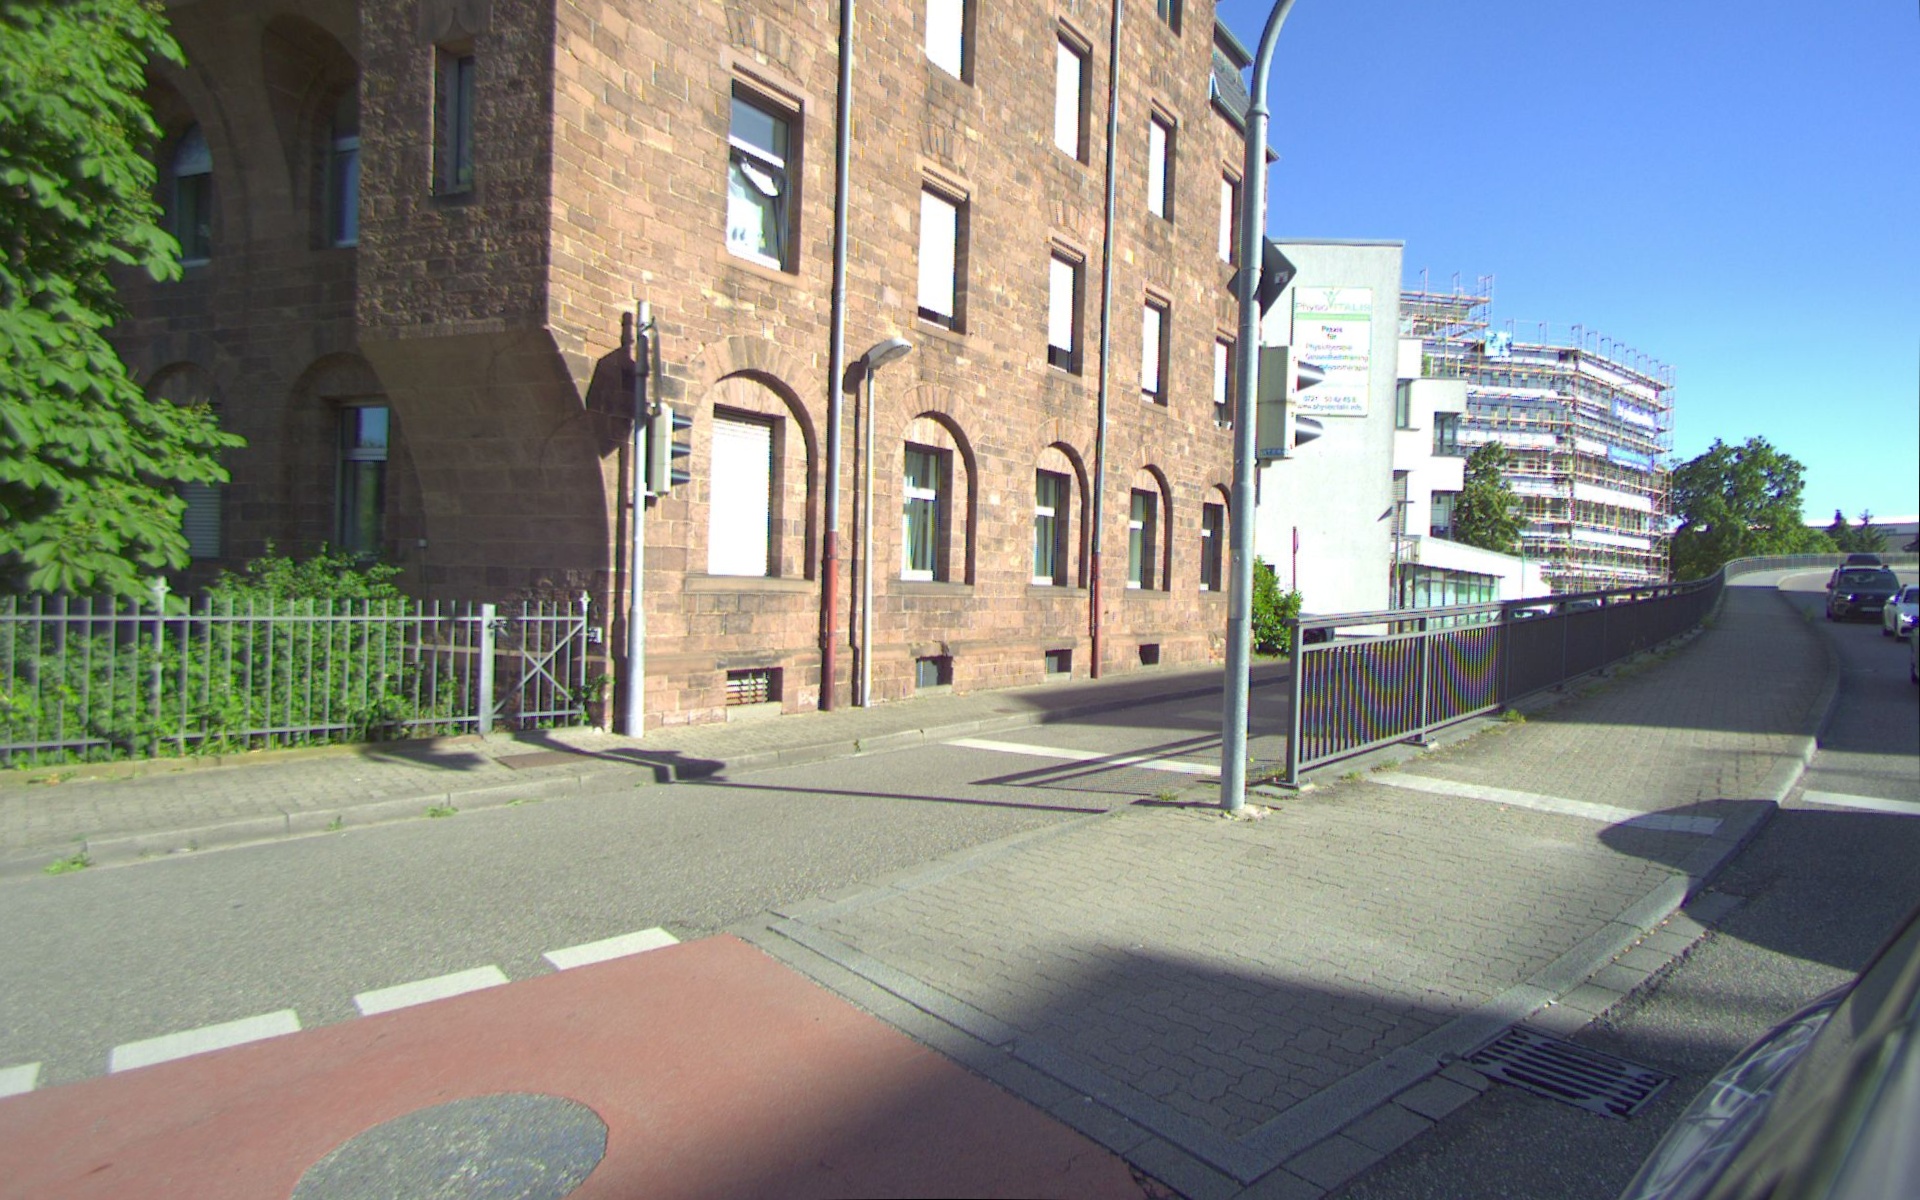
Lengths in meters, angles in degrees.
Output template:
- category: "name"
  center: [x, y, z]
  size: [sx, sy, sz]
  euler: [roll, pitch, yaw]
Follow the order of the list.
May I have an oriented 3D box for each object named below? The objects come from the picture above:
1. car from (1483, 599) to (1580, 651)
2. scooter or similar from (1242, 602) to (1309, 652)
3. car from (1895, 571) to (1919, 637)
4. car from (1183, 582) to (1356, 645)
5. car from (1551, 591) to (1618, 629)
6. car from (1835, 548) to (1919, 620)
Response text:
- category: "car"
  center: [19.126, 0.763, 33.765]
  size: [1.844, 1.448, 4.611]
  euler: [1, 3, 42]
- category: "scooter or similar"
  center: [7.911, 0.665, 25.379]
  size: [1.453, 1.234, 0.775]
  euler: [-1, -1, 35]
- category: "car"
  center: [25.104, 0.057, 25.666]
  size: [1.842, 1.554, 4.443]
  euler: [1, 2, 40]
- category: "car"
  center: [9.103, 0.382, 30.062]
  size: [4.562, 1.789, 1.828]
  euler: [0, 2, 2]
- category: "car"
  center: [27.595, 0.421, 44.653]
  size: [1.843, 1.554, 3.940]
  euler: [3, 2, 41]
- category: "car"
  center: [30.966, -0.602, 34.113]
  size: [1.900, 2.241, 4.538]
  euler: [1, 3, 37]
